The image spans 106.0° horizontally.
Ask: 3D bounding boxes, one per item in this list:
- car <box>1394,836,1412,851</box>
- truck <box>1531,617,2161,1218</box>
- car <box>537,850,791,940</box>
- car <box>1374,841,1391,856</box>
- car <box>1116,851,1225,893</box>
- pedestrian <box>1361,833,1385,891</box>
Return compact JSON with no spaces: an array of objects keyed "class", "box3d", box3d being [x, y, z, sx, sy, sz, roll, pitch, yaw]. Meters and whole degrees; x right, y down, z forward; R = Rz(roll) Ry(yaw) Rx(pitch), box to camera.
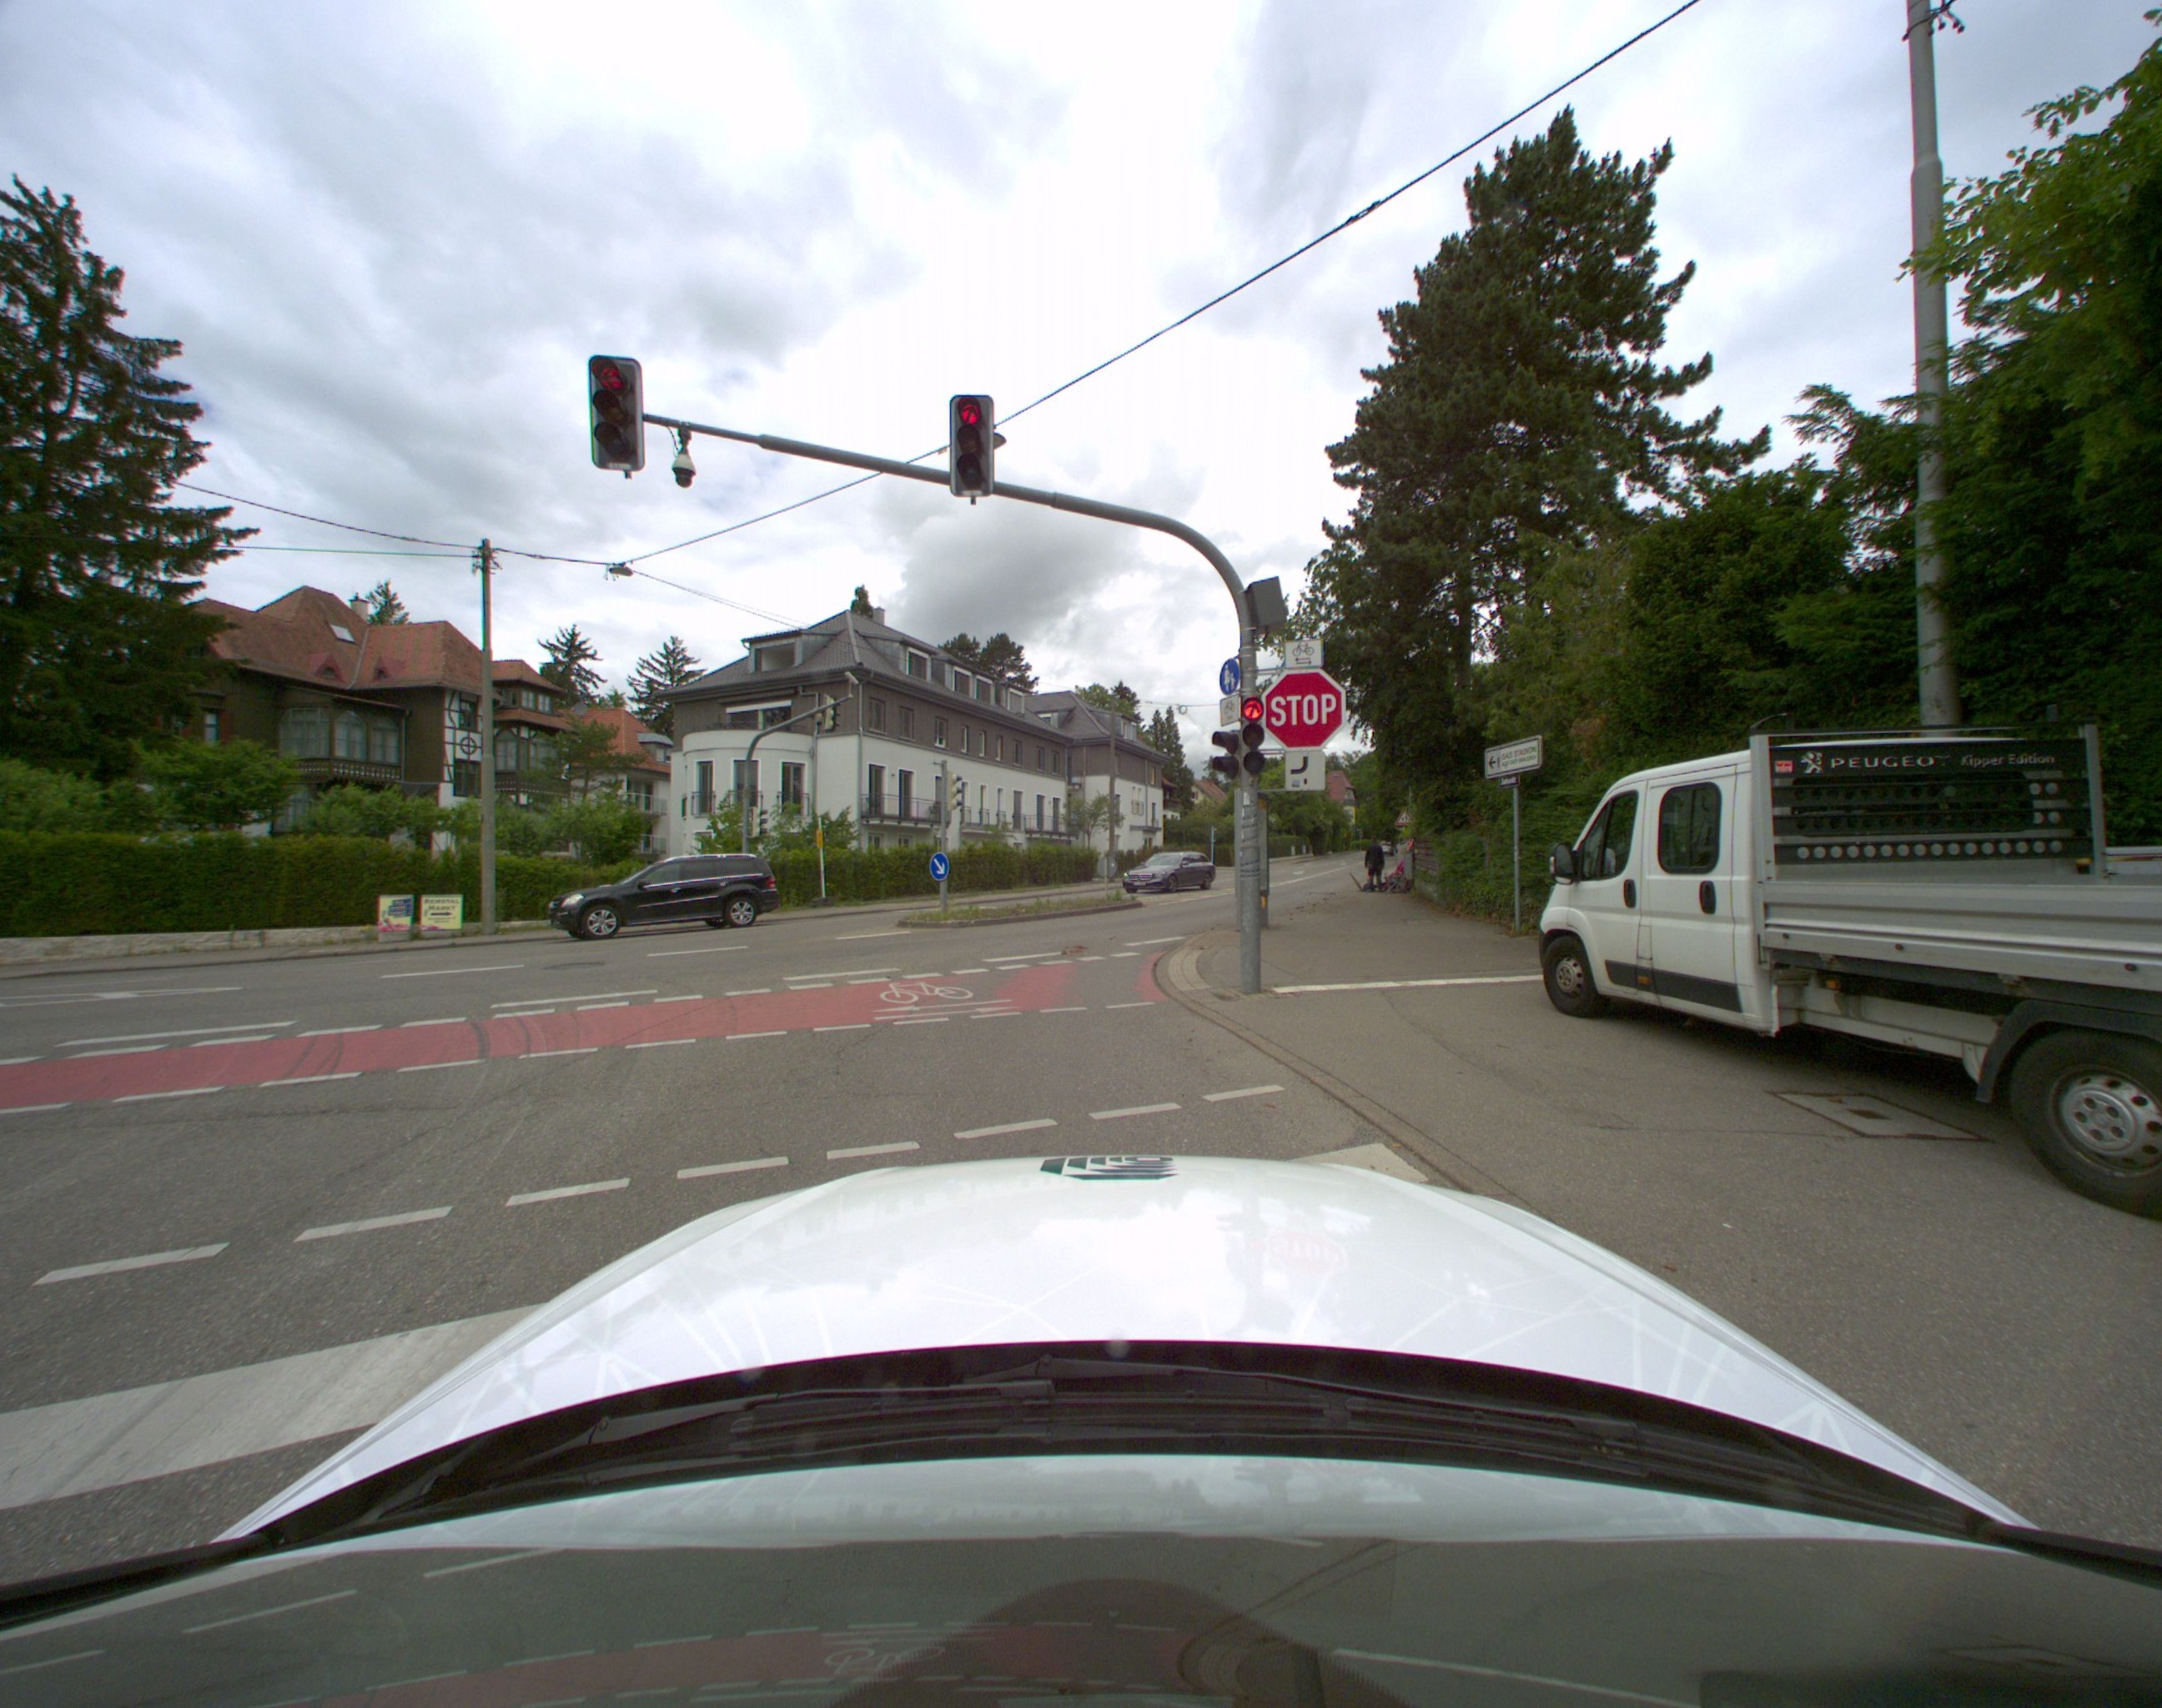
[{"class":"car","box3d":[44.061,-1.377,111.417,1.975,2.014,4.023,-1,0,26]},{"class":"truck","box3d":[5.267,0.236,4.962,2.198,2.243,5.729,0,0,4]},{"class":"car","box3d":[-10.009,0.900,19.881,5.171,1.881,1.895,-1,-1,-44]},{"class":"car","box3d":[36.709,-0.695,99.070,1.791,1.753,4.511,-2,0,22]},{"class":"car","box3d":[3.437,0.619,30.466,1.920,1.403,4.773,-1,0,36]},{"class":"pedestrian","box3d":[9.820,0.272,27.384,0.594,1.907,0.559,0,-1,2]}]
